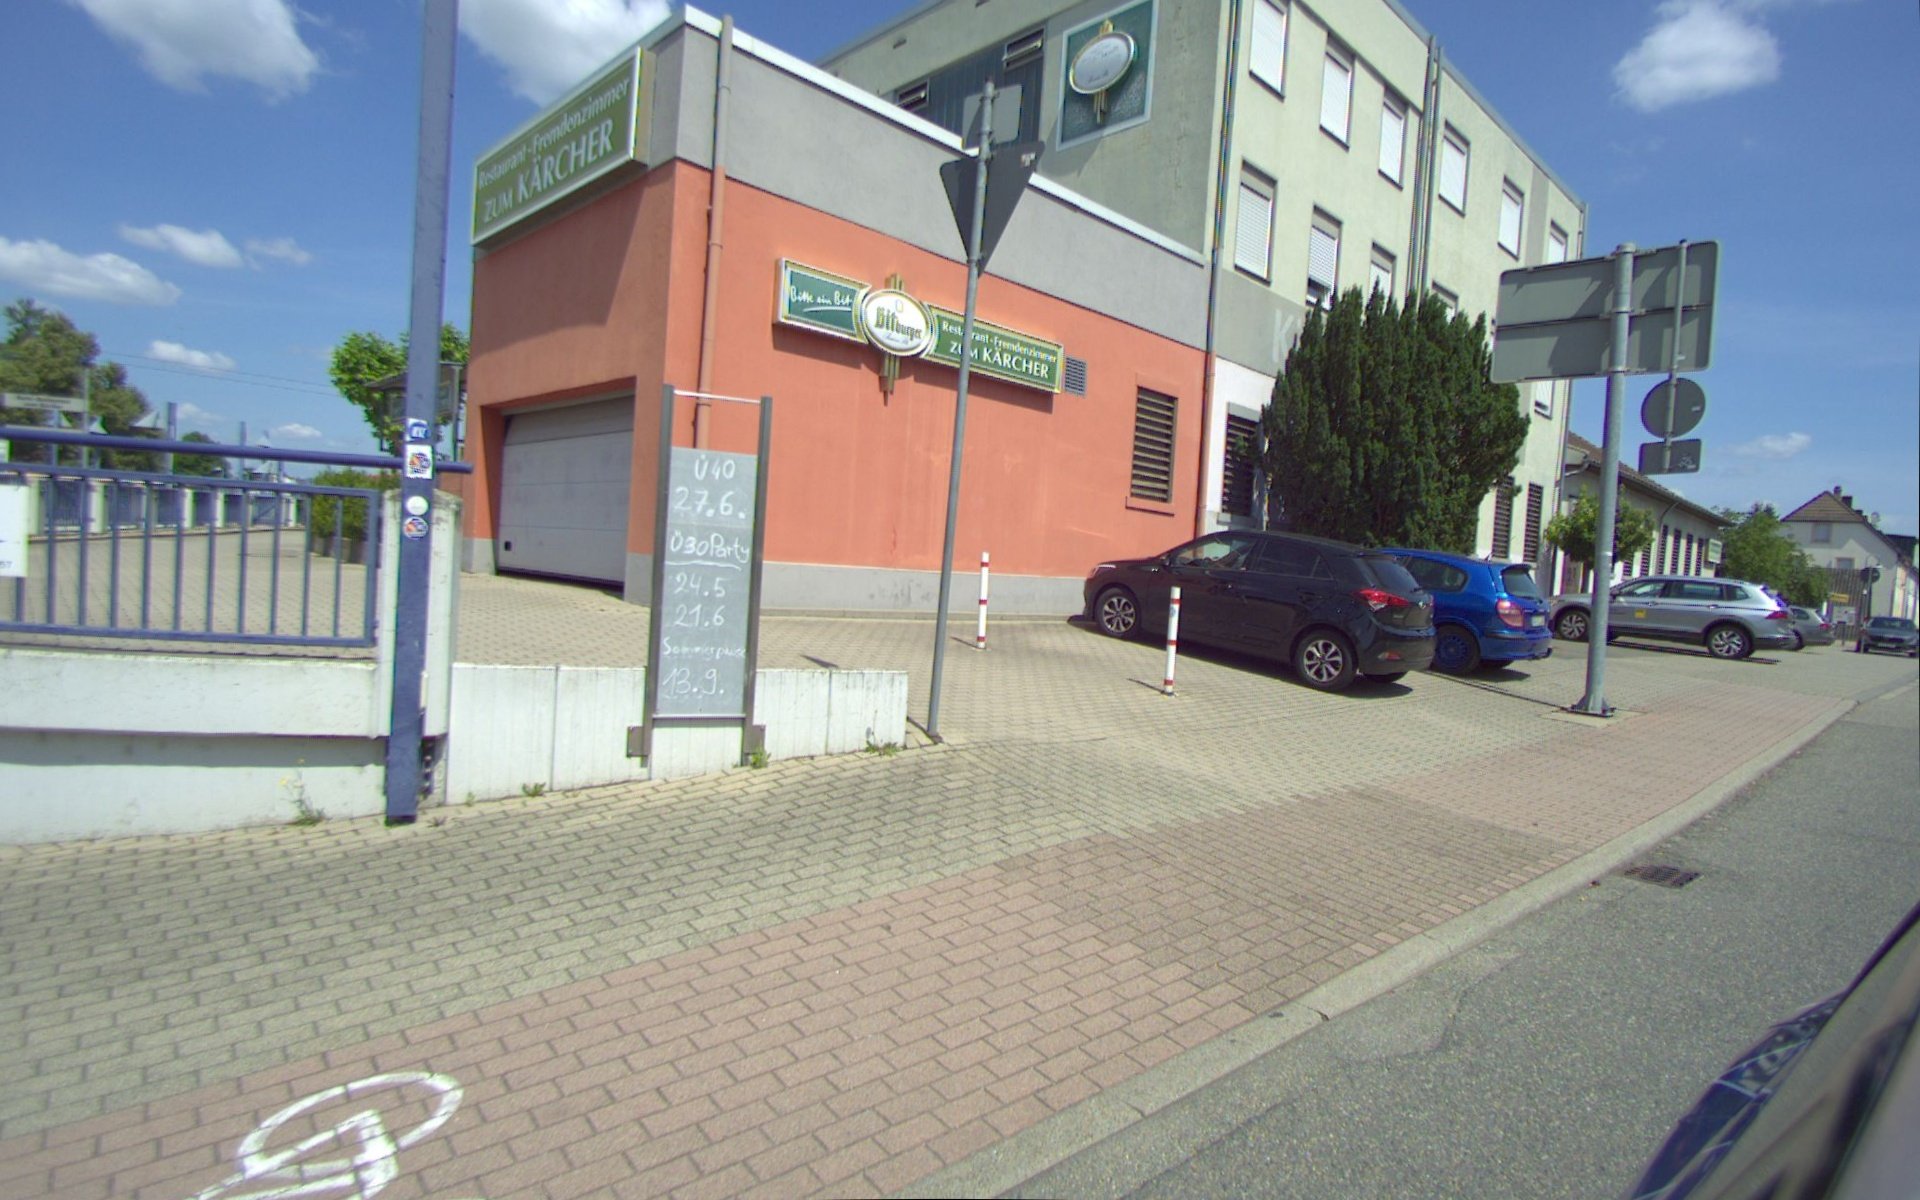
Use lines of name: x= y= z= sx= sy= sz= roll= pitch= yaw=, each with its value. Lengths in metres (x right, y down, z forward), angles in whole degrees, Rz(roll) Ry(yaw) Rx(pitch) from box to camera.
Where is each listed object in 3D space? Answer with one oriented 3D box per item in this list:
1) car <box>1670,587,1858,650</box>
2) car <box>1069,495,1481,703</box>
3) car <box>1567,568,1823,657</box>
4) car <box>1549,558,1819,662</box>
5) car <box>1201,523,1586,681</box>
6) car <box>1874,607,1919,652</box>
car: x=26.290 y=0.570 z=33.221 sx=1.886 sy=1.471 sz=4.535 roll=2 pitch=4 yaw=-43
car: x=3.369 y=-0.152 z=11.367 sx=1.781 sy=1.506 sz=3.904 roll=0 pitch=11 yaw=-45
car: x=17.193 y=0.243 z=23.842 sx=1.967 sy=1.537 sz=4.508 roll=2 pitch=5 yaw=-44
car: x=15.718 y=0.148 z=22.150 sx=4.459 sy=1.717 sz=1.892 roll=8 pitch=5 yaw=45
car: x=5.649 y=-0.109 z=13.631 sx=1.751 sy=1.455 sz=4.331 roll=-2 pitch=9 yaw=-44
car: x=35.987 y=1.137 z=38.461 sx=1.629 sy=1.507 sz=4.072 roll=7 pitch=3 yaw=44
